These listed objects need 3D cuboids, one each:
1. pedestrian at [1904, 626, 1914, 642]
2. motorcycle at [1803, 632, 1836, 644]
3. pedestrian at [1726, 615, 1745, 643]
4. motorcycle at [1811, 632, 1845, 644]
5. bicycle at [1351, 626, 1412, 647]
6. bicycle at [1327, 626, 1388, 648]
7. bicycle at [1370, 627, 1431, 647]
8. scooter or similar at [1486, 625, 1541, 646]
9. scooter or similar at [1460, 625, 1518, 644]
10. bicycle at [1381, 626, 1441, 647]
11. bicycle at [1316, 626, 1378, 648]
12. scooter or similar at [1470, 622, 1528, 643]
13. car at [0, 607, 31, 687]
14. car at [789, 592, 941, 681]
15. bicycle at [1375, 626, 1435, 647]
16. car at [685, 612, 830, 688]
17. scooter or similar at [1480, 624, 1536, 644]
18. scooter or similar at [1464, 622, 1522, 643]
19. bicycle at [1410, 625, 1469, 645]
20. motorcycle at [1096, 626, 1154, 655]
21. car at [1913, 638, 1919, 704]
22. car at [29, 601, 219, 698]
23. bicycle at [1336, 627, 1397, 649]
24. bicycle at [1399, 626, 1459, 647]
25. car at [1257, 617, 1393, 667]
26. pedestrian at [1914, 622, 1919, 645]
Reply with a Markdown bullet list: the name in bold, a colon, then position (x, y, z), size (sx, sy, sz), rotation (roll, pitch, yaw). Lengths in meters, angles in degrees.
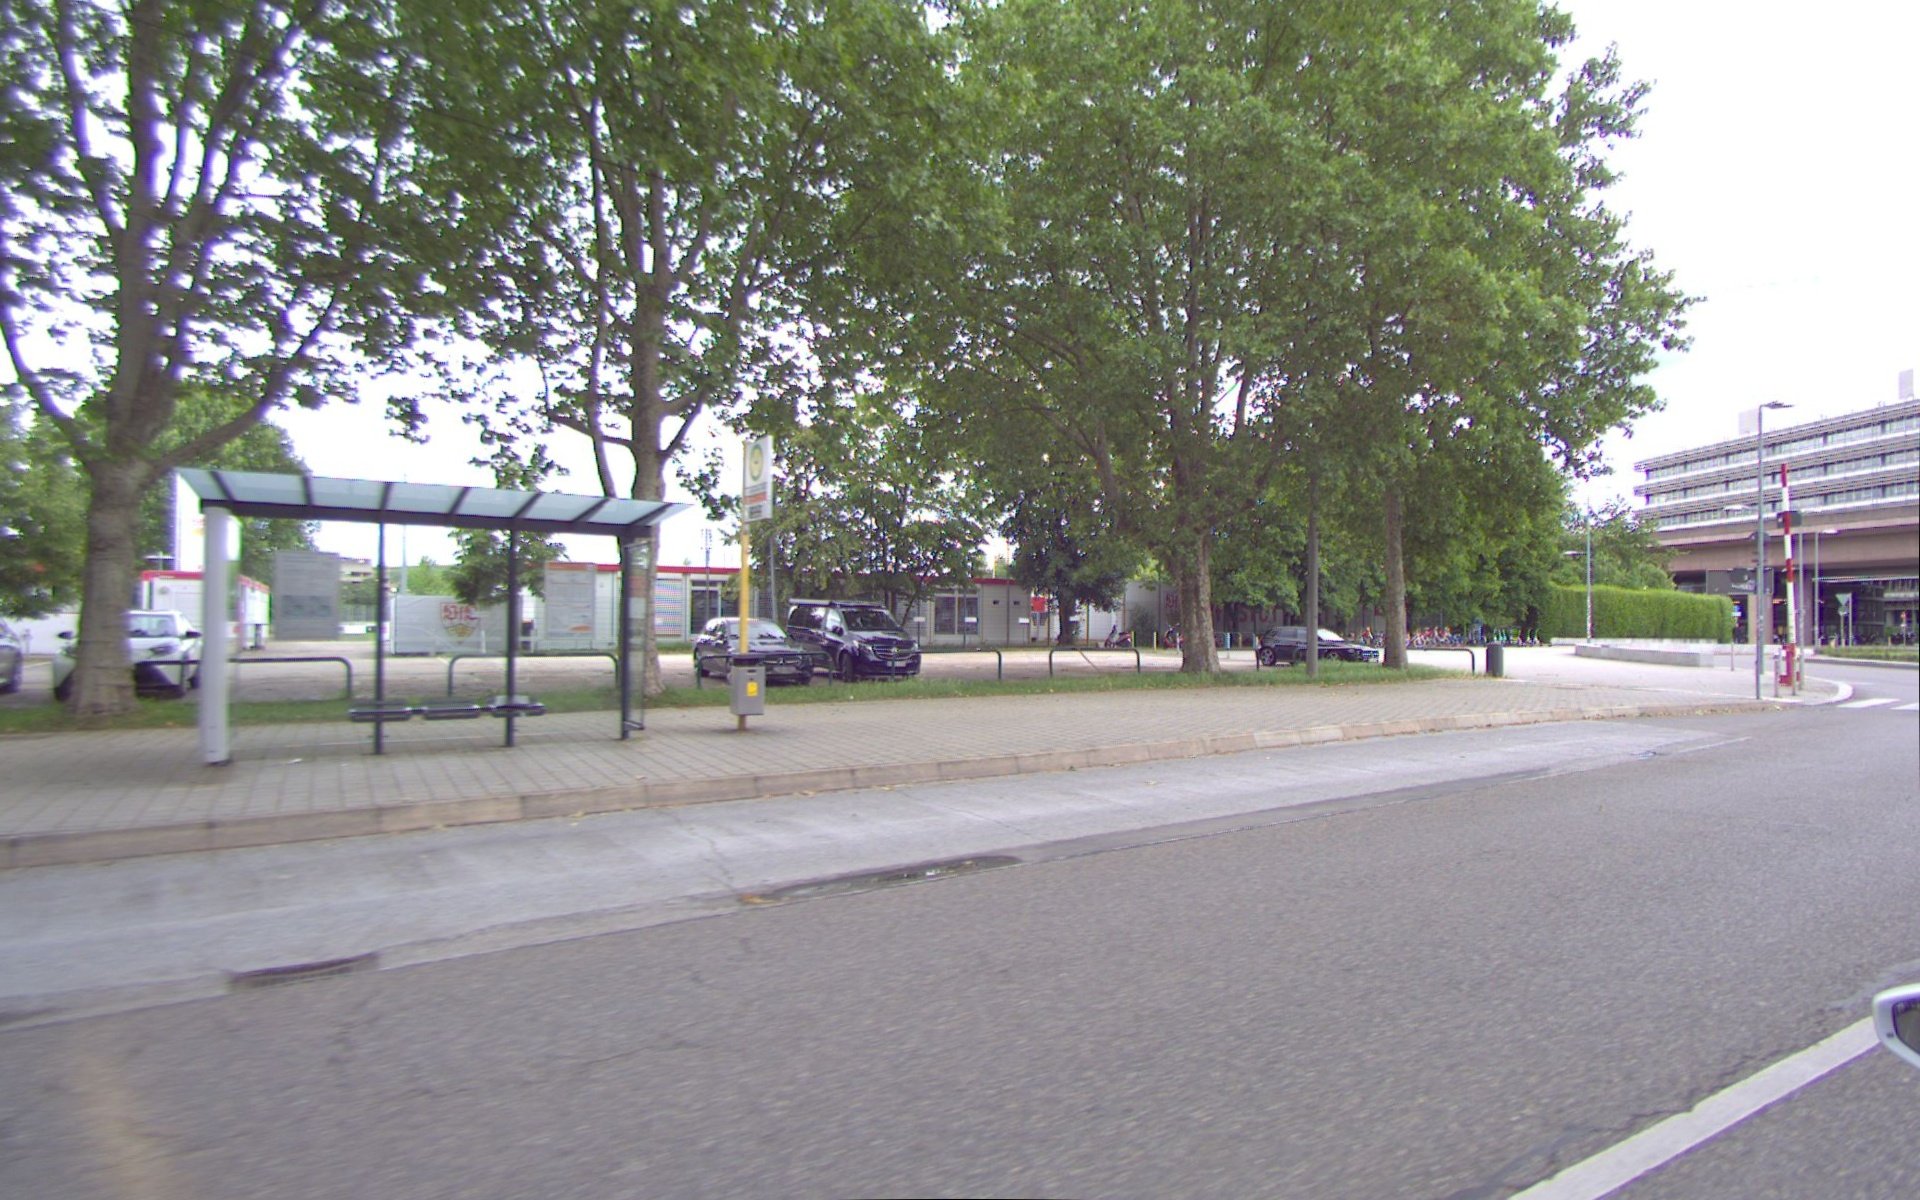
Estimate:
- **pedestrian**: position (122.820, 4.444, 129.989), size (0.766, 2.040, 0.668), rotation (1, -1, 35)
- **motorcycle**: position (91.185, 4.026, 106.593), size (1.021, 1.127, 2.657), rotation (1, -1, -10)
- **pedestrian**: position (57.852, 2.139, 74.912), size (0.595, 2.040, 1.033), rotation (2, -1, -42)
- **motorcycle**: position (92.407, 4.055, 106.960), size (1.021, 1.127, 2.657), rotation (1, -1, -10)
- **bicycle**: position (24.162, 2.094, 57.631), size (3.147, 1.112, 0.769), rotation (0, -2, 43)
- **bicycle**: position (22.353, 2.060, 56.556), size (3.148, 1.112, 0.768), rotation (1, -1, 44)
- **bicycle**: position (25.320, 2.121, 57.834), size (3.147, 1.111, 0.769), rotation (-2, -3, 43)
- **scooter or similar**: position (36.864, 2.355, 66.927), size (3.147, 1.266, 0.769), rotation (0, -1, 43)
- **scooter or similar**: position (33.089, 2.155, 62.847), size (3.147, 1.112, 0.769), rotation (0, -1, 43)
- **bicycle**: position (26.725, 2.154, 59.597), size (3.147, 1.112, 0.769), rotation (0, -1, 43)
- **bicycle**: position (21.377, 2.054, 55.603), size (3.148, 1.112, 0.768), rotation (1, -1, 44)
- **scooter or similar**: position (34.501, 2.098, 64.348), size (3.147, 1.266, 0.769), rotation (0, -1, 43)
- **car**: position (-16.904, 0.765, 16.248), size (1.980, 1.341, 3.965), rotation (2, -1, -32)
- **car**: position (-2.545, 0.888, 25.667), size (2.235, 2.052, 4.596), rotation (1, -1, -29)
- **bicycle**: position (26.023, 2.124, 58.773), size (3.147, 1.112, 0.769), rotation (0, -1, 43)
- **car**: position (-4.945, 1.136, 23.962), size (2.083, 1.588, 4.606), rotation (2, -2, -29)
- **scooter or similar**: position (36.160, 2.241, 66.309), size (3.147, 1.266, 0.769), rotation (0, -1, 43)
- **scooter or similar**: position (33.715, 2.065, 63.553), size (3.147, 1.266, 0.769), rotation (0, -1, 43)
- **bicycle**: position (29.073, 2.133, 60.913), size (3.147, 1.112, 0.769), rotation (0, -1, 43)
- **motorcycle**: position (7.618, 1.854, 46.587), size (0.763, 1.238, 3.650), rotation (1, -1, -25)
- **car**: position (21.112, 1.501, 20.417), size (1.876, 1.472, 4.797), rotation (-2, -3, 36)
- **car**: position (-14.881, 0.819, 18.130), size (1.979, 1.543, 3.967), rotation (2, -1, -31)
- **bicycle**: position (23.124, 2.154, 57.145), size (3.147, 1.112, 0.769), rotation (0, -1, 43)
- **bicycle**: position (28.096, 2.177, 60.210), size (3.147, 1.112, 0.769), rotation (0, -1, 43)
- **car**: position (12.711, 1.452, 35.132), size (2.214, 1.626, 3.954), rotation (2, -2, -40)
- **pedestrian**: position (88.306, 3.084, 92.499), size (0.595, 2.040, 0.582), rotation (2, -1, -43)
